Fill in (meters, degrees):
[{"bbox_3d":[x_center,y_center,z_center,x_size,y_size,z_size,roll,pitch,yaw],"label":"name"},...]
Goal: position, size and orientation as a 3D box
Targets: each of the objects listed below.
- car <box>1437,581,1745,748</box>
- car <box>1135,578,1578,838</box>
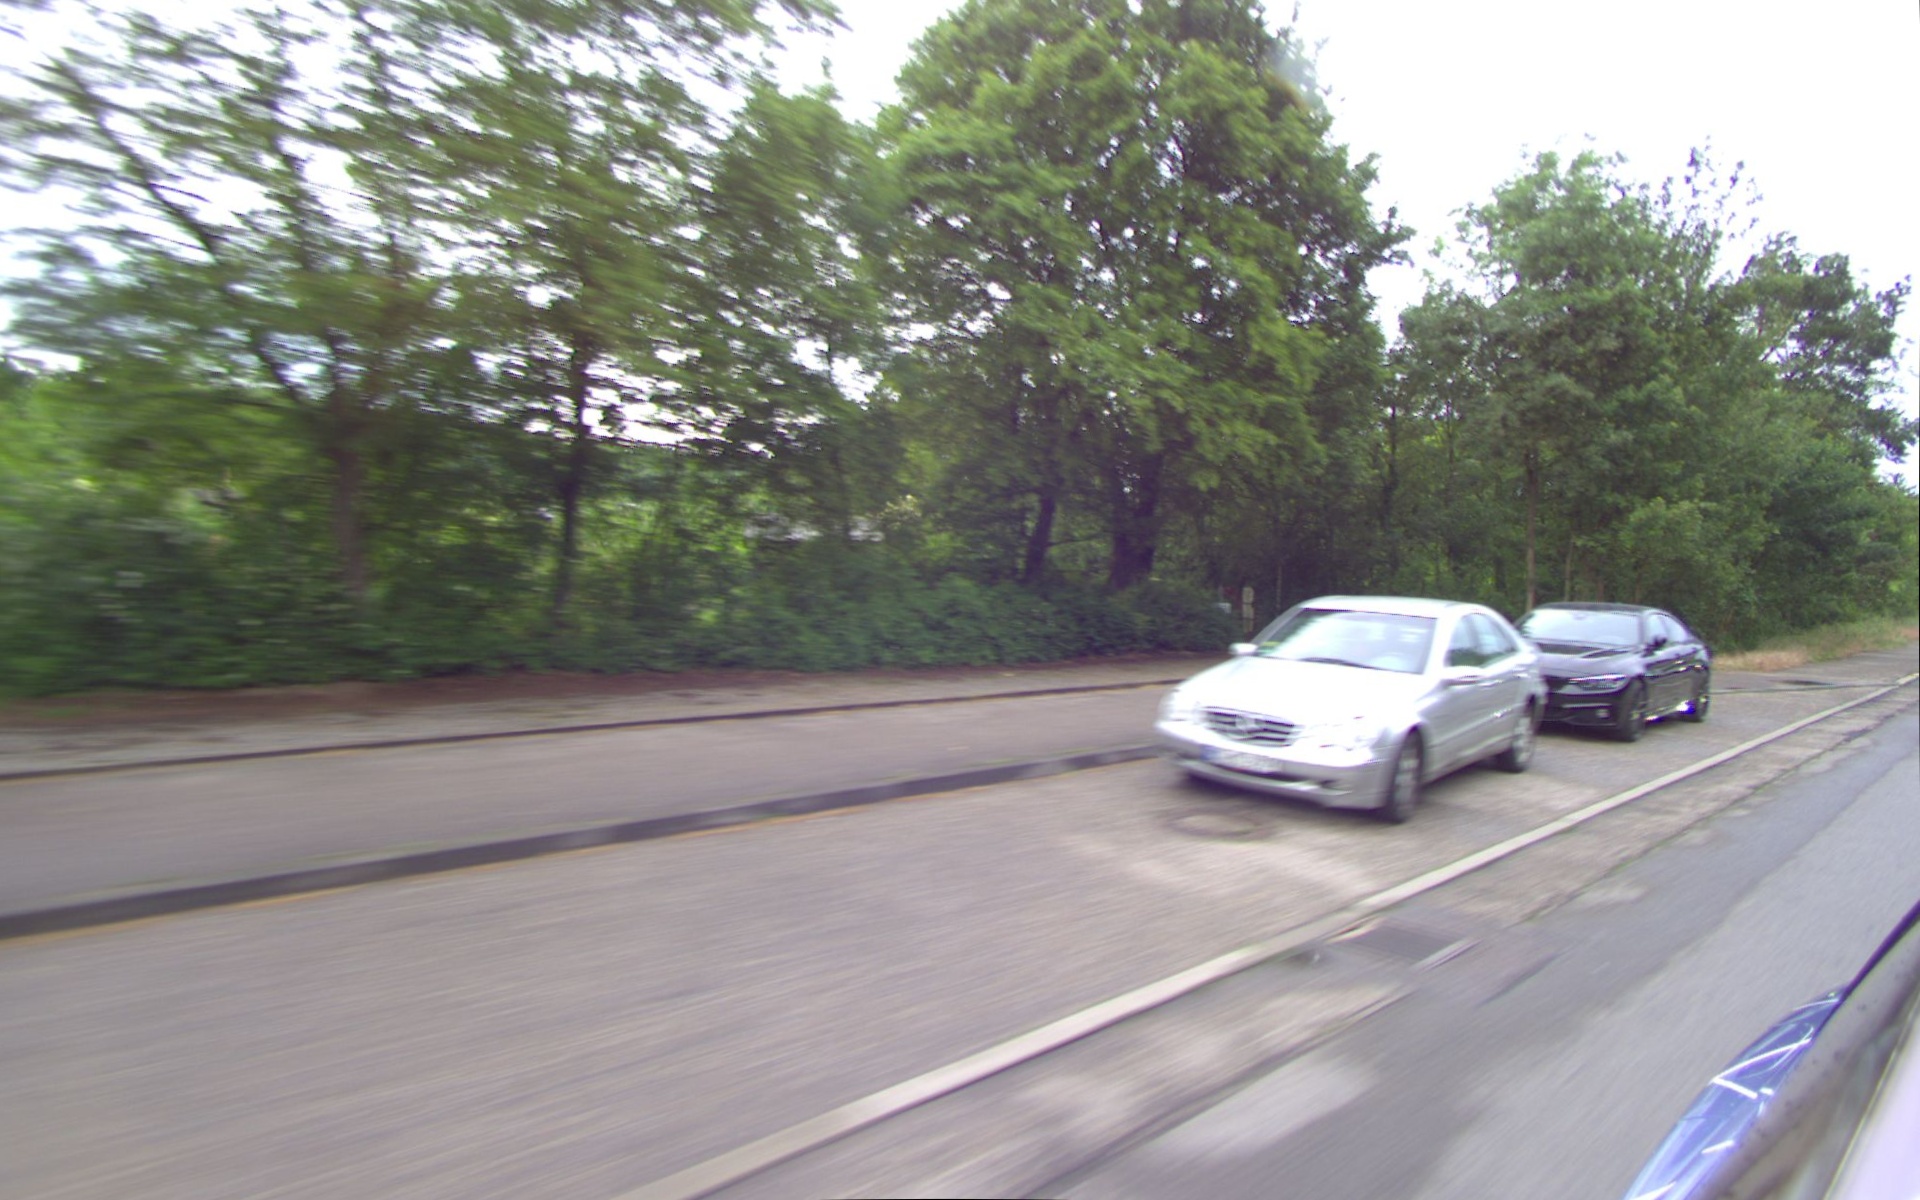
[{"bbox_3d":[7.612,0.587,12.013,4.587,1.528,1.810,-1,4,-42],"label":"car"},{"bbox_3d":[3.353,0.599,8.103,4.152,1.486,1.746,-1,4,-45],"label":"car"}]
